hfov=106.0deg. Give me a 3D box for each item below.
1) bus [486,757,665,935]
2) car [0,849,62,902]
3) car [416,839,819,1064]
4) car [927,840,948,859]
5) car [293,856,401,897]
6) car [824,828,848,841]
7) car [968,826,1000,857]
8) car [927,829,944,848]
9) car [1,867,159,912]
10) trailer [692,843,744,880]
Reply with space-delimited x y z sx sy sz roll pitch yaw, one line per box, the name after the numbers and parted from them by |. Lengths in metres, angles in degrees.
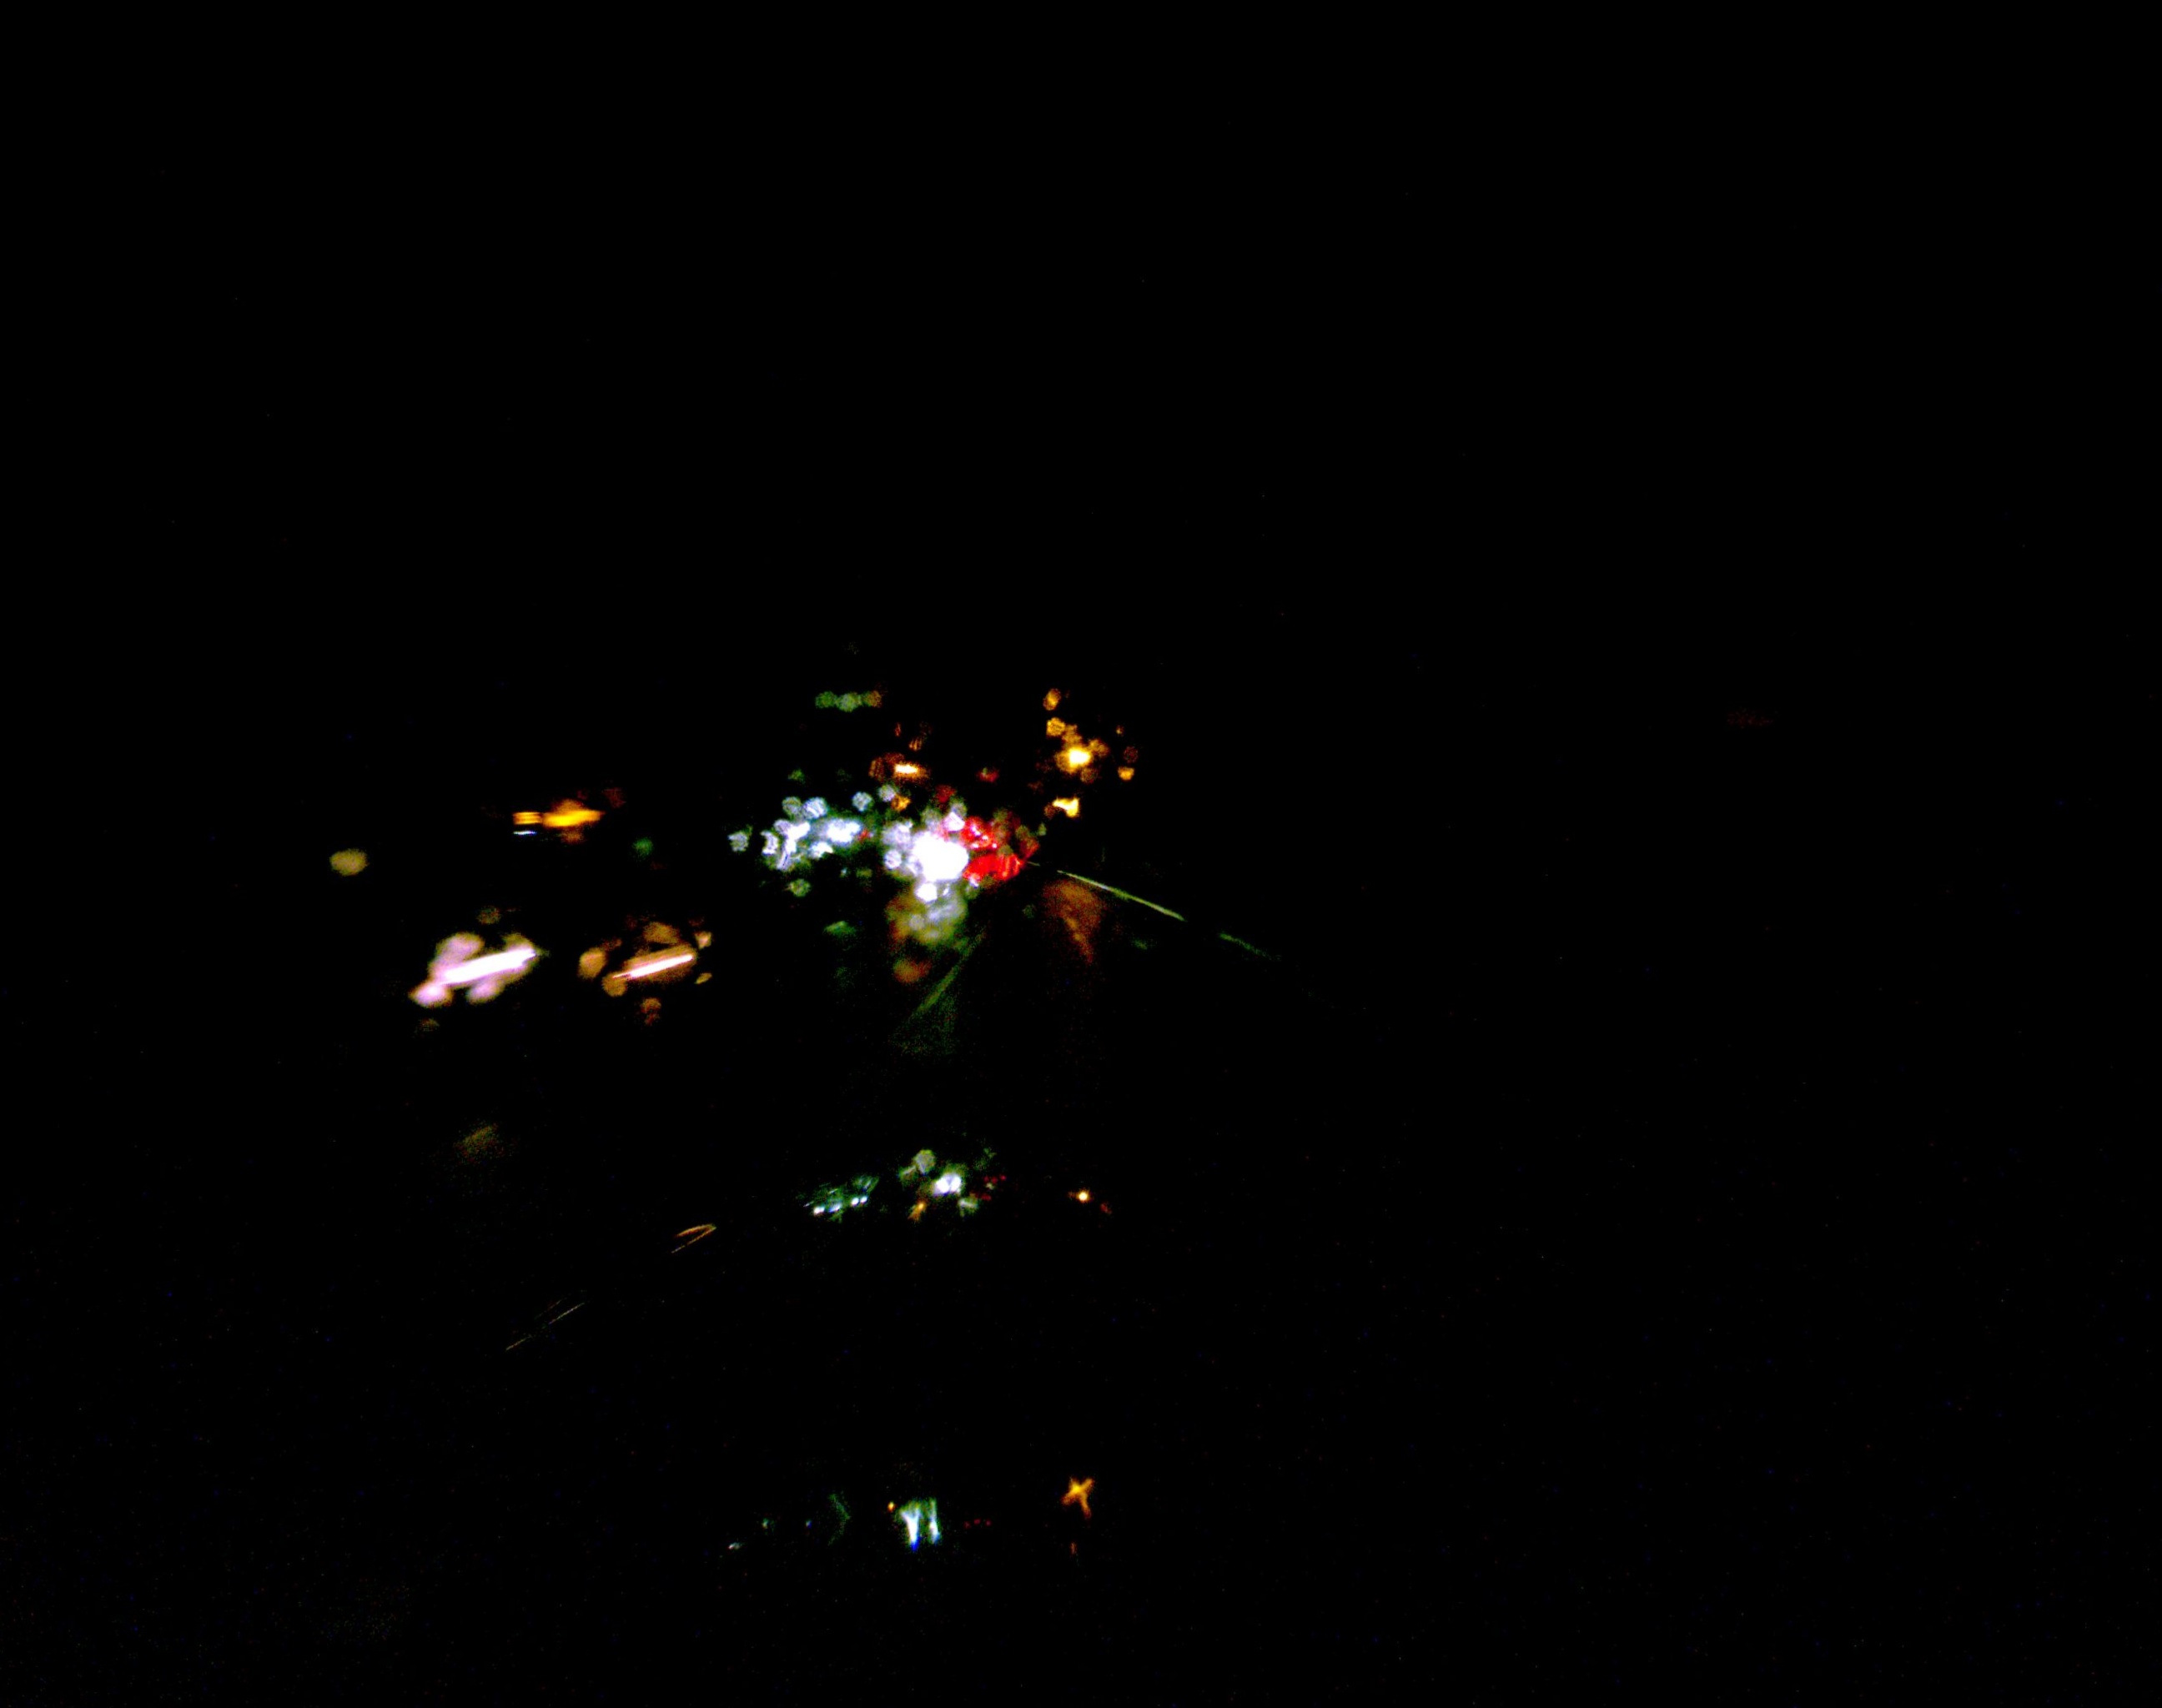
-14.334 -0.208 24.231 2.907 3.868 12.952 0 0 -25 | bus
-43.255 0.829 32.224 2.003 2.056 3.968 1 -1 -24 | car
-3.963 0.688 7.804 1.690 1.599 3.799 -1 0 -1 | car
-12.203 -0.410 69.520 1.635 1.510 4.103 -3 1 -10 | car
-32.032 0.965 35.720 1.944 1.697 4.594 1 -1 -21 | car
-41.086 -3.219 136.375 2.010 2.014 4.788 1 0 -40 | car
-8.485 -1.145 70.963 2.538 2.497 5.699 -1 3 -9 | car
-17.530 -1.840 98.037 1.994 2.014 3.986 1 -1 -10 | car
-40.165 1.374 32.868 1.944 1.697 4.594 1 -1 -21 | car
-18.798 0.352 42.369 1.816 1.677 4.079 -3 2 -16 | trailer
